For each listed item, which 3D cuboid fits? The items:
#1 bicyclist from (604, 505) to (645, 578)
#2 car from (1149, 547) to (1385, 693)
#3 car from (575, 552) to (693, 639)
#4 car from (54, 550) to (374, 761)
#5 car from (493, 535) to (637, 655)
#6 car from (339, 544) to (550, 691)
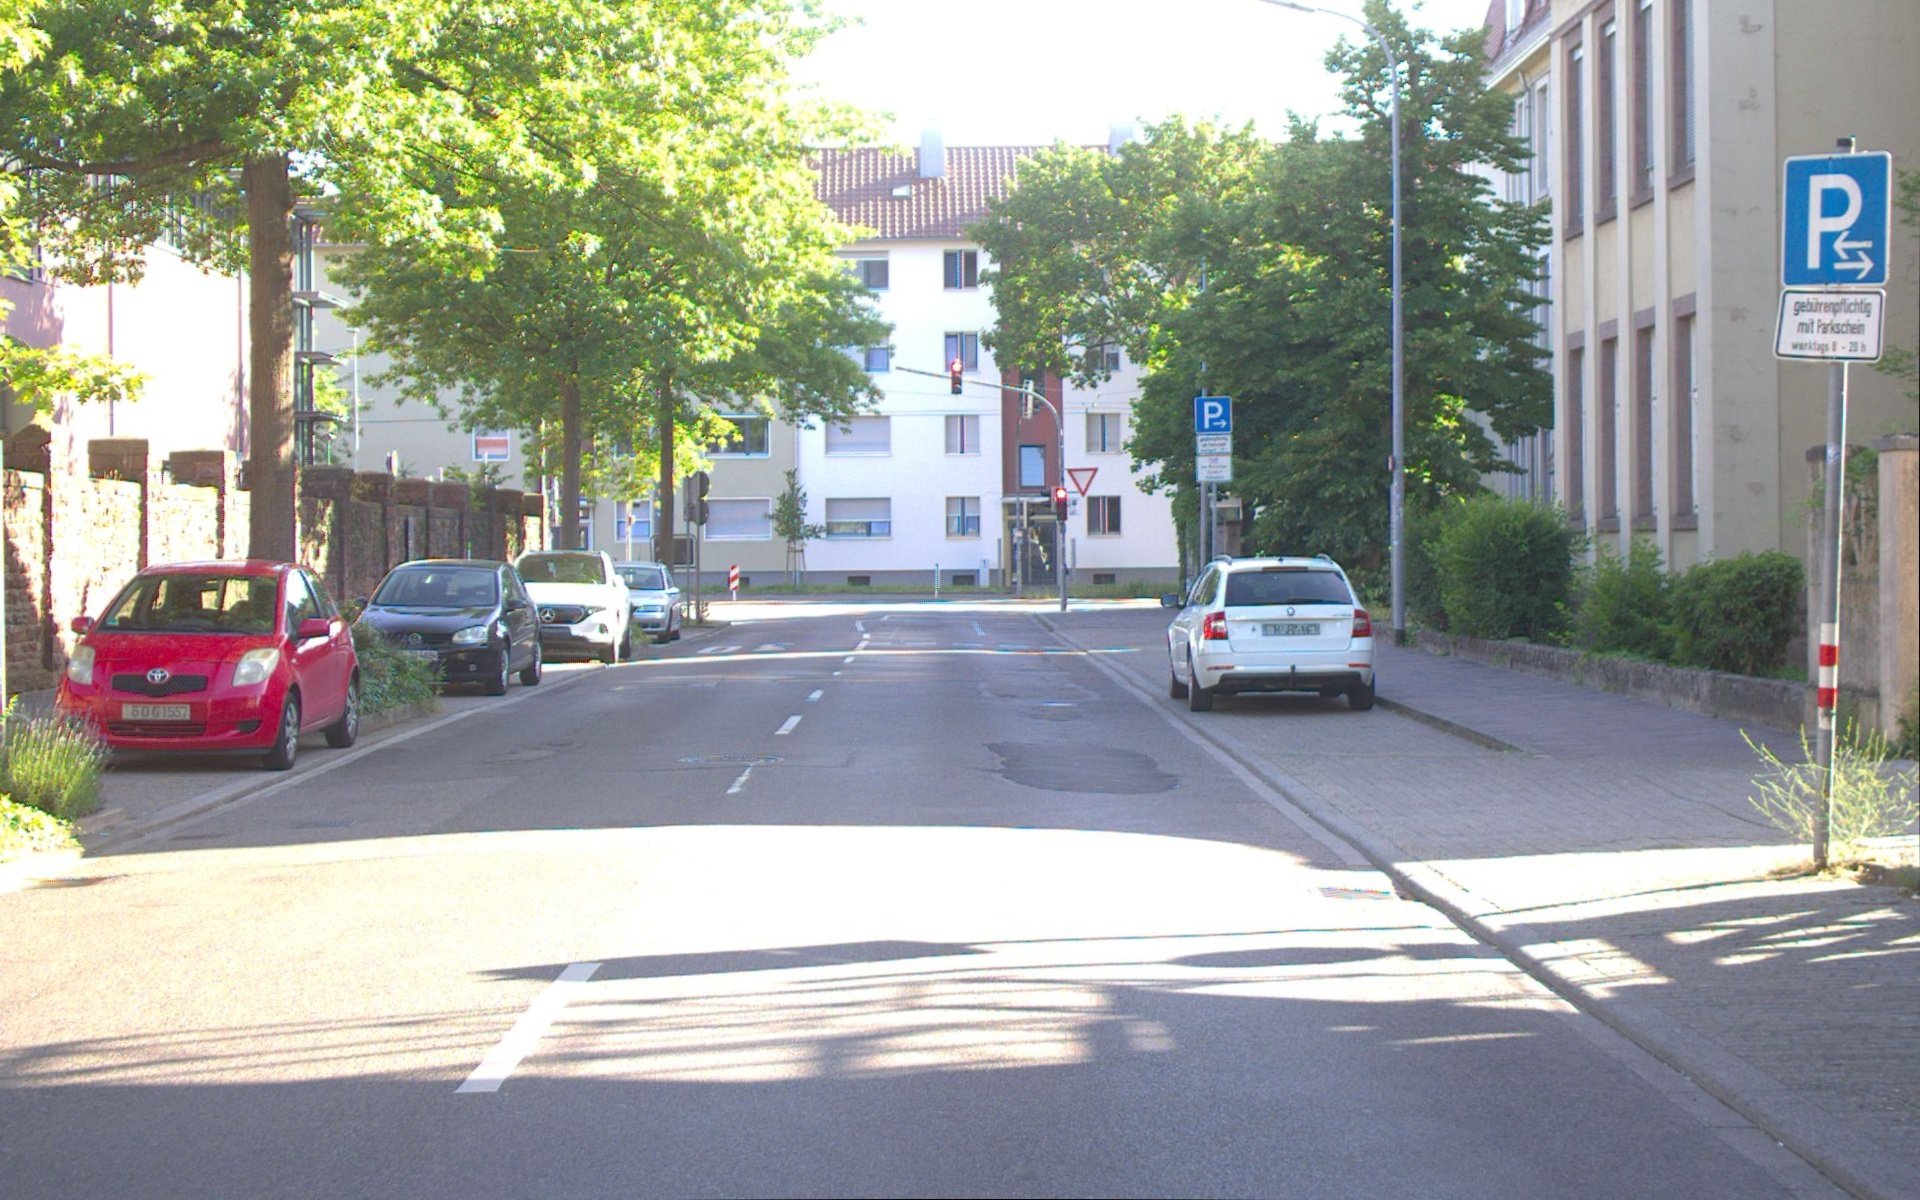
[{"bbox_3d":[-8.140,-1.413,83.457,0.787,1.751,0.612,0,1,-41],"label":"bicyclist"},{"bbox_3d":[2.946,0.148,33.844,1.832,1.318,4.496,-1,1,-1],"label":"car"},{"bbox_3d":[-5.877,-0.112,62.388,1.726,1.470,4.478,2,1,-1],"label":"car"},{"bbox_3d":[-5.621,0.367,26.294,1.609,1.454,3.708,2,1,0],"label":"car"},{"bbox_3d":[-5.704,-0.106,50.045,1.720,1.678,4.351,0,1,-2],"label":"car"},{"bbox_3d":[-5.837,0.161,39.356,1.737,1.587,4.106,0,1,1],"label":"car"}]
